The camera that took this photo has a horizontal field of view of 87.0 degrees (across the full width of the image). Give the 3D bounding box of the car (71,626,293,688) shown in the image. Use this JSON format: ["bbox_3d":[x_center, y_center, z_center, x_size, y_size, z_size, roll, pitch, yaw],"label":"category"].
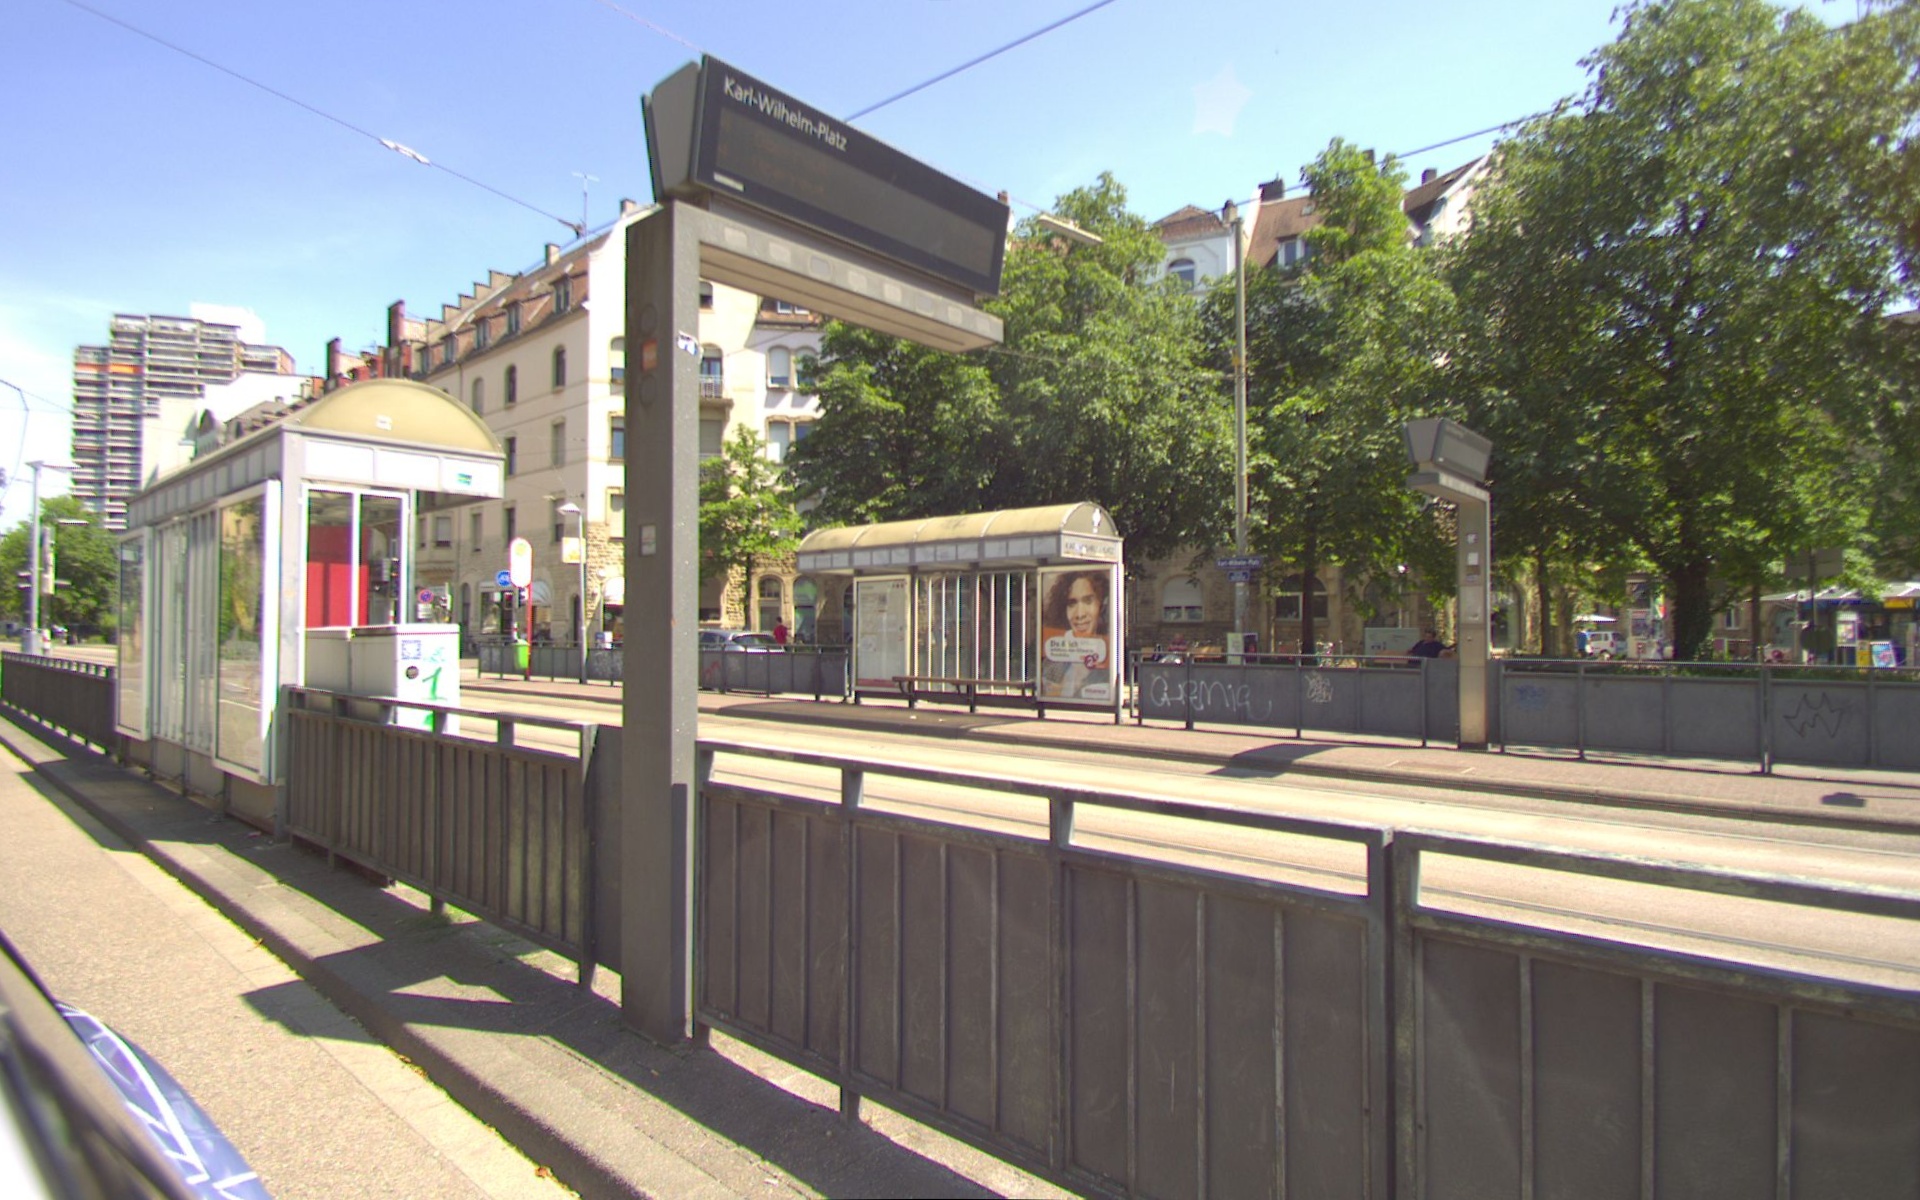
[{"bbox_3d":[-22.255,1.573,29.223,4.952,1.493,1.943,-1,0,-36],"label":"car"}]

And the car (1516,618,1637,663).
[{"bbox_3d":[26.726,1.705,44.002,1.966,1.803,4.011,-1,0,-33],"label":"car"}]

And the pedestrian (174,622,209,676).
[{"bbox_3d":[-26.654,1.680,35.103,0.674,1.838,0.827,-2,-3,44],"label":"pedestrian"}]

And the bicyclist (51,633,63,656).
[{"bbox_3d":[-76.436,3.736,85.694,0.715,1.889,0.636,-1,0,39],"label":"bicyclist"}]

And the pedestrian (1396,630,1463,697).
[{"bbox_3d":[9.288,1.239,20.033,0.852,1.253,0.939,-1,0,-43],"label":"pedestrian"}]

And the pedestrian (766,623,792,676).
[{"bbox_3d":[-5.402,1.480,30.170,0.473,1.563,0.586,-2,-3,39],"label":"pedestrian"}]

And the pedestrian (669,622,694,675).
[{"bbox_3d":[-8.803,1.536,31.978,0.474,1.659,0.586,-2,-3,45],"label":"pedestrian"}]

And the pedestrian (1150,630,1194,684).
[{"bbox_3d":[5.099,1.356,24.309,0.930,1.253,0.860,-1,0,17],"label":"pedestrian"}]

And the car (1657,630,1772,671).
[{"bbox_3d":[35.795,2.350,48.094,1.736,1.721,3.998,-1,0,-33],"label":"car"}]

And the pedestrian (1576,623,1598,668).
[{"bbox_3d":[23.921,1.733,38.610,0.483,1.683,0.517,1,-2,-27],"label":"pedestrian"}]

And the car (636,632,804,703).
[{"bbox_3d":[-5.592,1.490,23.355,3.998,1.404,1.789,-1,0,41],"label":"car"}]

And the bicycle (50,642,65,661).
[{"bbox_3d":[-76.405,4.329,85.684,1.969,1.524,0.636,-1,0,39],"label":"bicycle"}]
